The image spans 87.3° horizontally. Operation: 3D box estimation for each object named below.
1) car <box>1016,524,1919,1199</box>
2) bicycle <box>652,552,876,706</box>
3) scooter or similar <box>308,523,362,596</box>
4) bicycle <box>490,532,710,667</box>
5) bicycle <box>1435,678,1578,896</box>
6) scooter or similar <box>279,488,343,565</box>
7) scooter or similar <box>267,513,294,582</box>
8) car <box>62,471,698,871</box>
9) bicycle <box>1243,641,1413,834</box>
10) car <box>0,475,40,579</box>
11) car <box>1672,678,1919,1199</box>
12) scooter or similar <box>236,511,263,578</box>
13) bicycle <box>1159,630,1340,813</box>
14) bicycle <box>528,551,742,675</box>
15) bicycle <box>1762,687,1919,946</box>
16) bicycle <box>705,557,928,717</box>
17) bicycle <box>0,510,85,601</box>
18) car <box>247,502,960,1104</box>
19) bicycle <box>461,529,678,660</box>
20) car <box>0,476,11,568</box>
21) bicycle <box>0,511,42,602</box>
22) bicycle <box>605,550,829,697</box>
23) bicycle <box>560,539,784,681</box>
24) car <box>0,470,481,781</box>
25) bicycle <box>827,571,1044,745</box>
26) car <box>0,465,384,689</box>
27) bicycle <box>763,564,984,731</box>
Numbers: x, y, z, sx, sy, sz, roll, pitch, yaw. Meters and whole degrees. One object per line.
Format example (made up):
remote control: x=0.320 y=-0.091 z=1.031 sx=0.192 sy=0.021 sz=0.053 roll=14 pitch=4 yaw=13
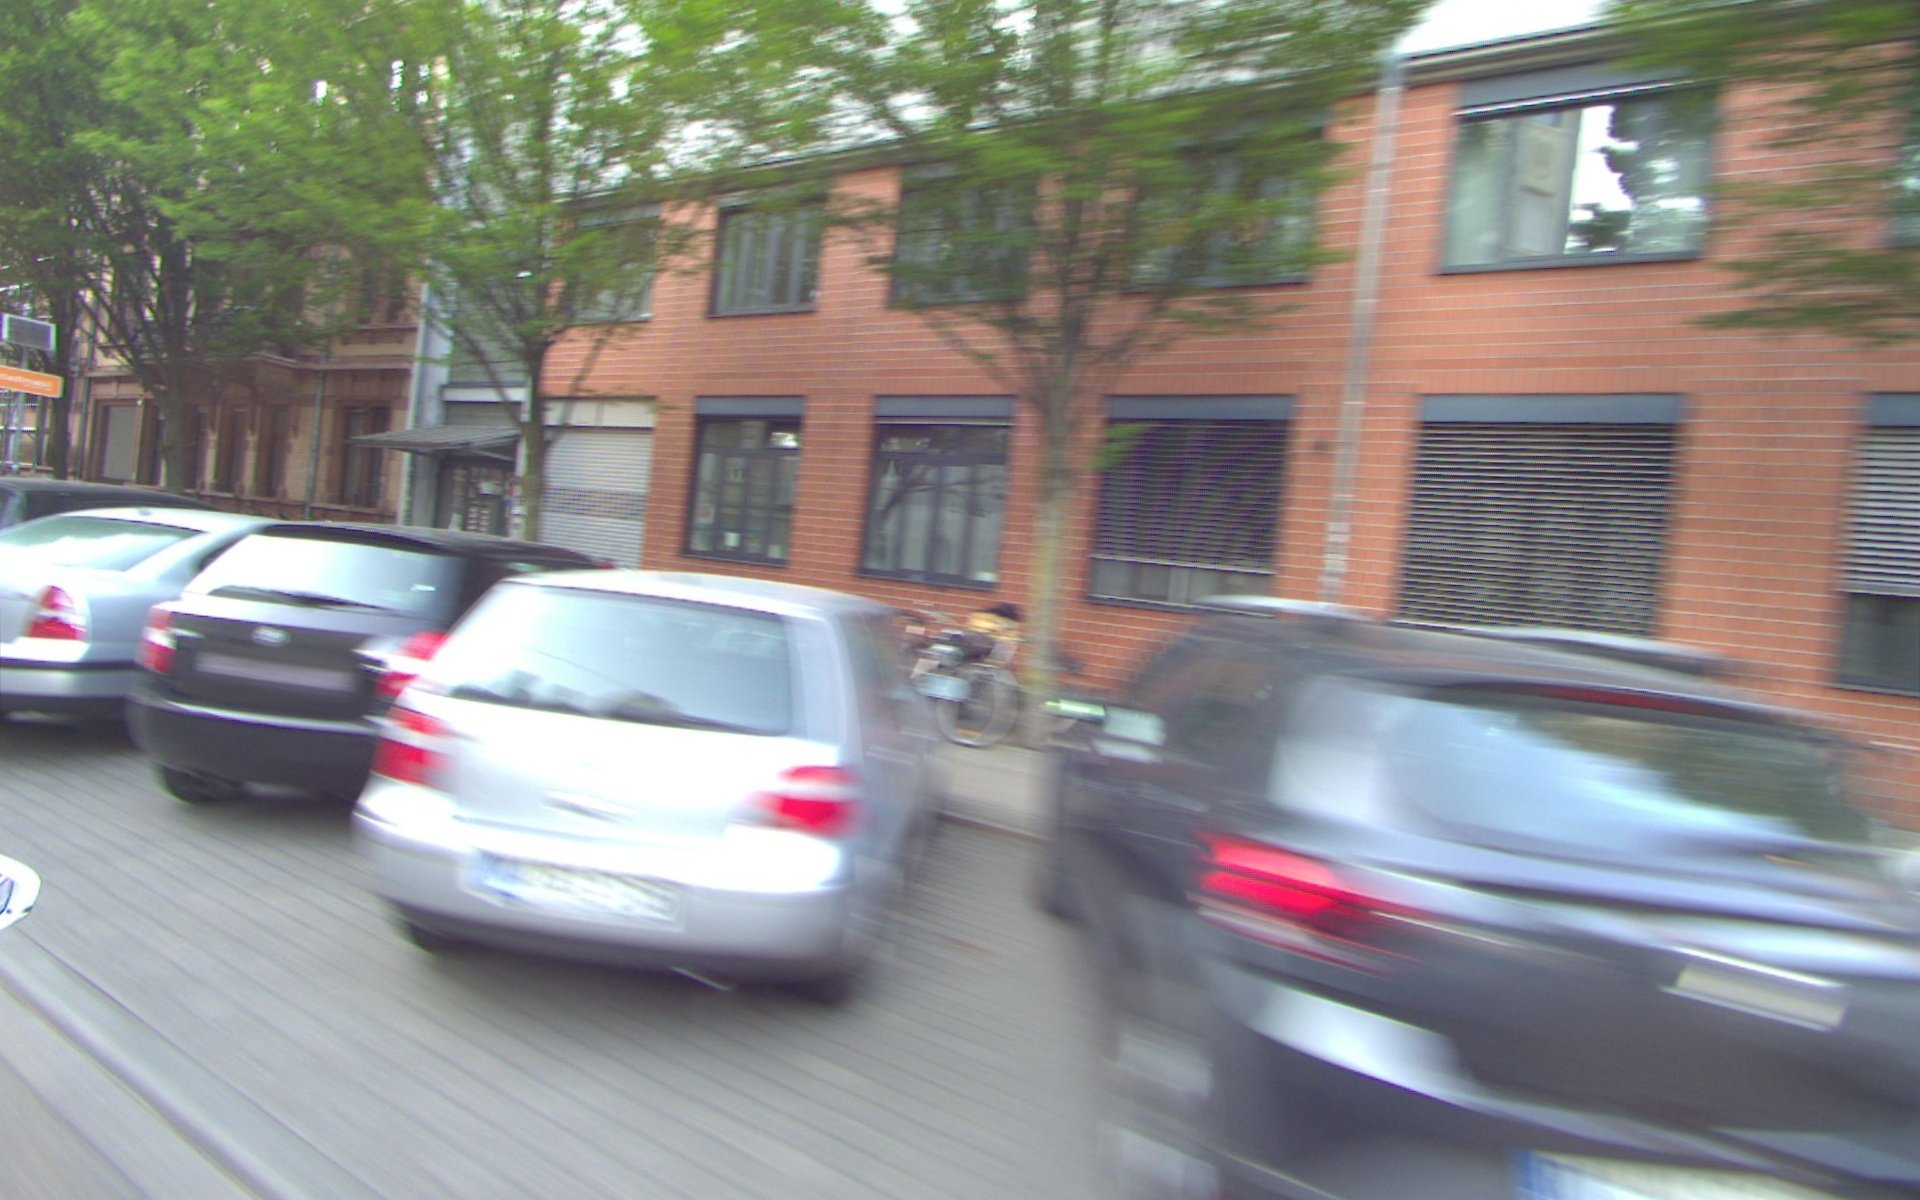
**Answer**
car: x=1.269 y=0.772 z=3.422 sx=1.685 sy=1.600 sz=3.603 roll=7 pitch=0 yaw=-2
bicycle: x=-1.968 y=0.353 z=10.601 sx=0.589 sy=1.396 sz=2.536 roll=7 pitch=0 yaw=33
scooter or similar: x=-11.726 y=-0.773 z=18.854 sx=1.751 sy=1.235 sz=0.410 roll=7 pitch=5 yaw=43
bicycle: x=-4.227 y=0.057 z=12.082 sx=0.589 sy=1.396 sz=2.536 roll=7 pitch=0 yaw=33
bicycle: x=3.853 y=1.170 z=6.976 sx=0.553 sy=1.181 sz=2.536 roll=7 pitch=0 yaw=33
scooter or similar: x=-11.058 y=-1.268 z=17.124 sx=1.751 sy=1.236 sz=0.465 roll=7 pitch=8 yaw=43
scooter or similar: x=-12.947 y=-1.024 z=19.155 sx=0.366 sy=1.234 sz=1.687 roll=2 pitch=3 yaw=-35
car: x=-3.000 y=0.317 z=6.160 sx=1.533 sy=1.553 sz=3.605 roll=7 pitch=0 yaw=3
bicycle: x=2.886 y=0.979 z=7.680 sx=0.553 sy=1.181 sz=2.536 roll=7 pitch=0 yaw=33
car: x=-14.761 y=-1.133 z=13.409 sx=1.742 sy=1.493 sz=3.404 roll=7 pitch=2 yaw=0
car: x=3.555 y=1.165 z=1.772 sx=1.606 sy=1.556 sz=3.999 roll=7 pitch=0 yaw=0
scooter or similar: x=-13.934 y=-1.103 z=19.744 sx=0.366 sy=1.234 sz=1.604 roll=2 pitch=3 yaw=-35
bicycle: x=2.383 y=0.914 z=8.003 sx=0.553 sy=1.181 sz=2.536 roll=7 pitch=0 yaw=33
bicycle: x=-3.709 y=0.109 z=11.739 sx=0.589 sy=1.263 sz=2.531 roll=7 pitch=5 yaw=33
bicycle: x=5.442 y=1.191 z=6.022 sx=0.669 sy=1.114 sz=2.345 roll=7 pitch=3 yaw=33
bicycle: x=-1.358 y=0.413 z=10.198 sx=0.589 sy=1.396 sz=2.536 roll=7 pitch=0 yaw=33
bicycle: x=-12.862 y=-0.637 z=13.423 sx=1.823 sy=1.121 sz=0.559 roll=6 pitch=0 yaw=2
car: x=-1.035 y=0.580 z=4.650 sx=1.690 sy=1.501 sz=3.606 roll=7 pitch=0 yaw=4
bicycle: x=-4.765 y=-0.011 z=12.530 sx=0.589 sy=1.396 sz=2.536 roll=7 pitch=0 yaw=33
car: x=-17.350 y=-1.412 z=15.401 sx=1.729 sy=1.550 sz=3.836 roll=6 pitch=1 yaw=6
bicycle: x=-12.894 y=-0.637 z=12.826 sx=1.823 sy=1.121 sz=0.559 roll=6 pitch=0 yaw=2
bicycle: x=-2.556 y=0.309 z=10.984 sx=0.589 sy=1.396 sz=2.536 roll=7 pitch=0 yaw=33
bicycle: x=-3.151 y=0.173 z=11.348 sx=0.589 sy=1.396 sz=2.536 roll=7 pitch=0 yaw=33
car: x=-5.499 y=0.046 z=7.315 sx=1.774 sy=1.553 sz=4.385 roll=7 pitch=0 yaw=0
bicycle: x=-0.136 y=0.561 z=9.506 sx=0.589 sy=1.396 sz=2.536 roll=7 pitch=0 yaw=33
car: x=-7.591 y=-0.246 z=9.186 sx=1.725 sy=1.657 sz=4.000 roll=7 pitch=1 yaw=11
bicycle: x=-0.746 y=0.488 z=9.846 sx=0.589 sy=1.396 sz=2.536 roll=7 pitch=0 yaw=33
